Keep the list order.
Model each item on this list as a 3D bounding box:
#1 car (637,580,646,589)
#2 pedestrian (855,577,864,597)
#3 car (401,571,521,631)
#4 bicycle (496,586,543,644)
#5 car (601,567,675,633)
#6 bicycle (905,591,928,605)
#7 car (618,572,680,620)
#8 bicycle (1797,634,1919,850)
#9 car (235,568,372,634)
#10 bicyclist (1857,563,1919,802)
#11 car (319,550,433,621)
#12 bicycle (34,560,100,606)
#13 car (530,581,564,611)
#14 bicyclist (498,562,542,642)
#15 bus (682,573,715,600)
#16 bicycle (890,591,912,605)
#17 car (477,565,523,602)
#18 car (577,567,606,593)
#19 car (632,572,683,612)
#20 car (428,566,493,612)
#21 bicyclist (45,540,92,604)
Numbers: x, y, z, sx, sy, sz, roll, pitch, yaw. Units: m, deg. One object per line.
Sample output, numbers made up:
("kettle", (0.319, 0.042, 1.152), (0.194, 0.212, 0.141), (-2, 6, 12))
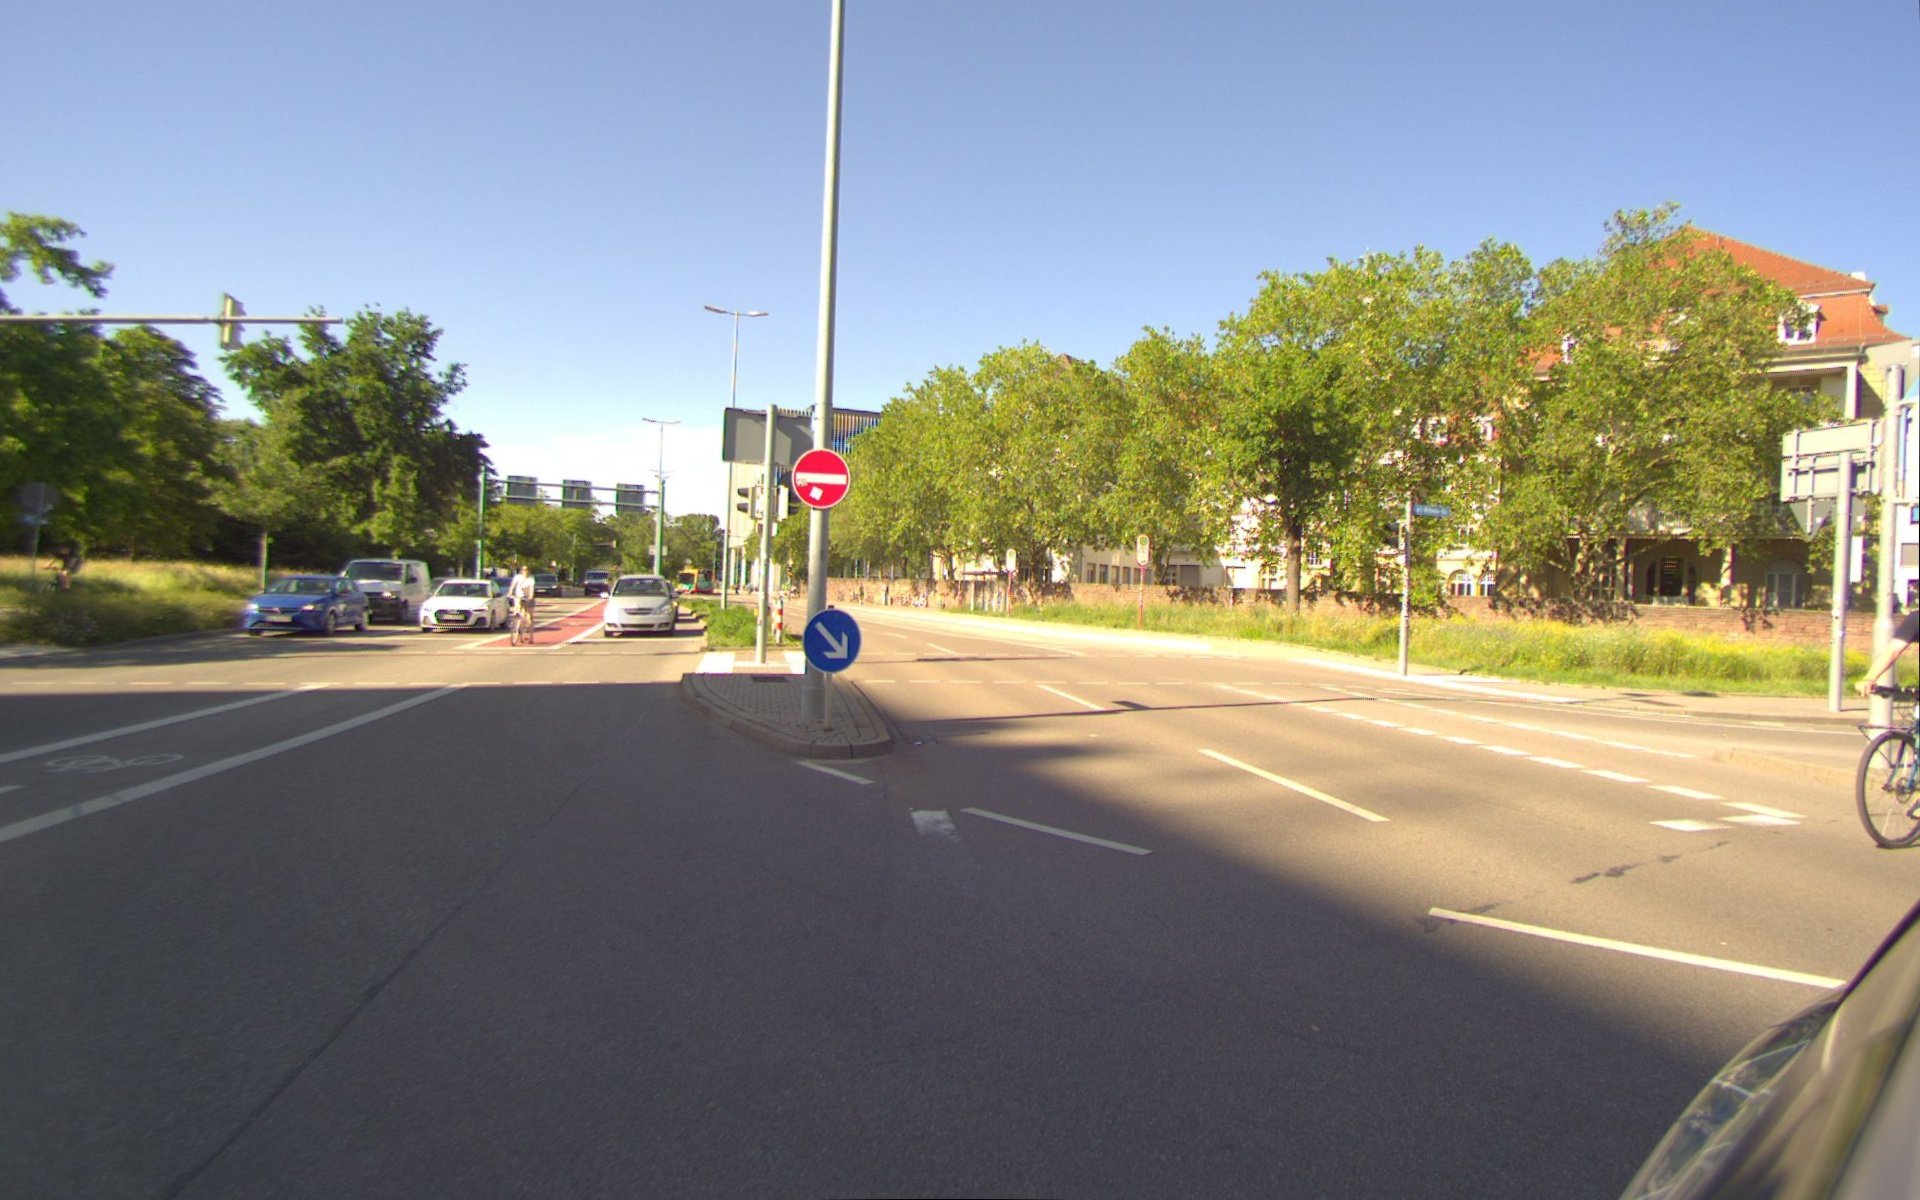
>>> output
("car", (-61.405, -3.032, 195.326), (1.657, 1.612, 3.607), (1, 1, -17))
("pedestrian", (-8.491, -1.102, 85.458), (0.639, 1.632, 0.559), (2, -2, -22))
("car", (-13.603, -0.011, 27.854), (1.958, 1.487, 4.008), (2, 1, -11))
("bicycle", (-9.854, 0.312, 22.688), (0.732, 1.179, 1.875), (2, 2, -18))
("car", (-8.643, -0.024, 27.417), (1.752, 1.645, 4.325), (1, 1, -16))
("bicycle", (-3.456, -0.175, 80.585), (0.780, 1.090, 2.085), (3, -2, -34))
("car", (-11.015, -0.159, 36.085), (1.942, 1.574, 4.734), (1, 1, -16))
("bicycle", (6.176, 0.821, 6.294), (1.831, 1.180, 0.644), (1, 0, -20))
("car", (-15.860, -0.002, 24.685), (1.669, 1.460, 4.009), (1, 1, -16))
("bicyclist", (6.309, 0.510, 6.341), (0.933, 1.462, 0.644), (1, 0, -20))
("car", (-17.819, -0.438, 31.141), (1.898, 1.977, 4.767), (1, 1, -16))
("bicycle", (-23.793, -0.455, 26.999), (0.629, 1.180, 1.874), (2, 0, -20))
("car", (-28.479, -0.279, 69.822), (1.898, 1.977, 4.767), (1, 1, -19))
("bicyclist", (-9.809, 0.029, 22.592), (0.730, 1.706, 0.980), (2, 1, -18))
("bus", (-34.548, -1.778, 133.581), (2.926, 3.315, 6.265), (2, -2, -25))
("bicycle", (-4.821, -0.162, 82.492), (0.780, 1.090, 2.085), (3, -2, -34))
("car", (-24.110, -0.857, 53.142), (1.808, 1.852, 4.400), (1, 1, -20))
("car", (-29.529, -1.565, 81.210), (1.898, 1.977, 4.542), (1, 1, -17))
("car", (-12.928, -0.356, 43.381), (1.942, 1.574, 4.734), (1, 1, -16))
("car", (-20.815, -0.463, 42.338), (1.898, 1.822, 4.370), (1, 1, -19))
("bicyclist", (-23.774, -0.746, 27.001), (0.630, 1.666, 0.778), (2, 0, -20))
